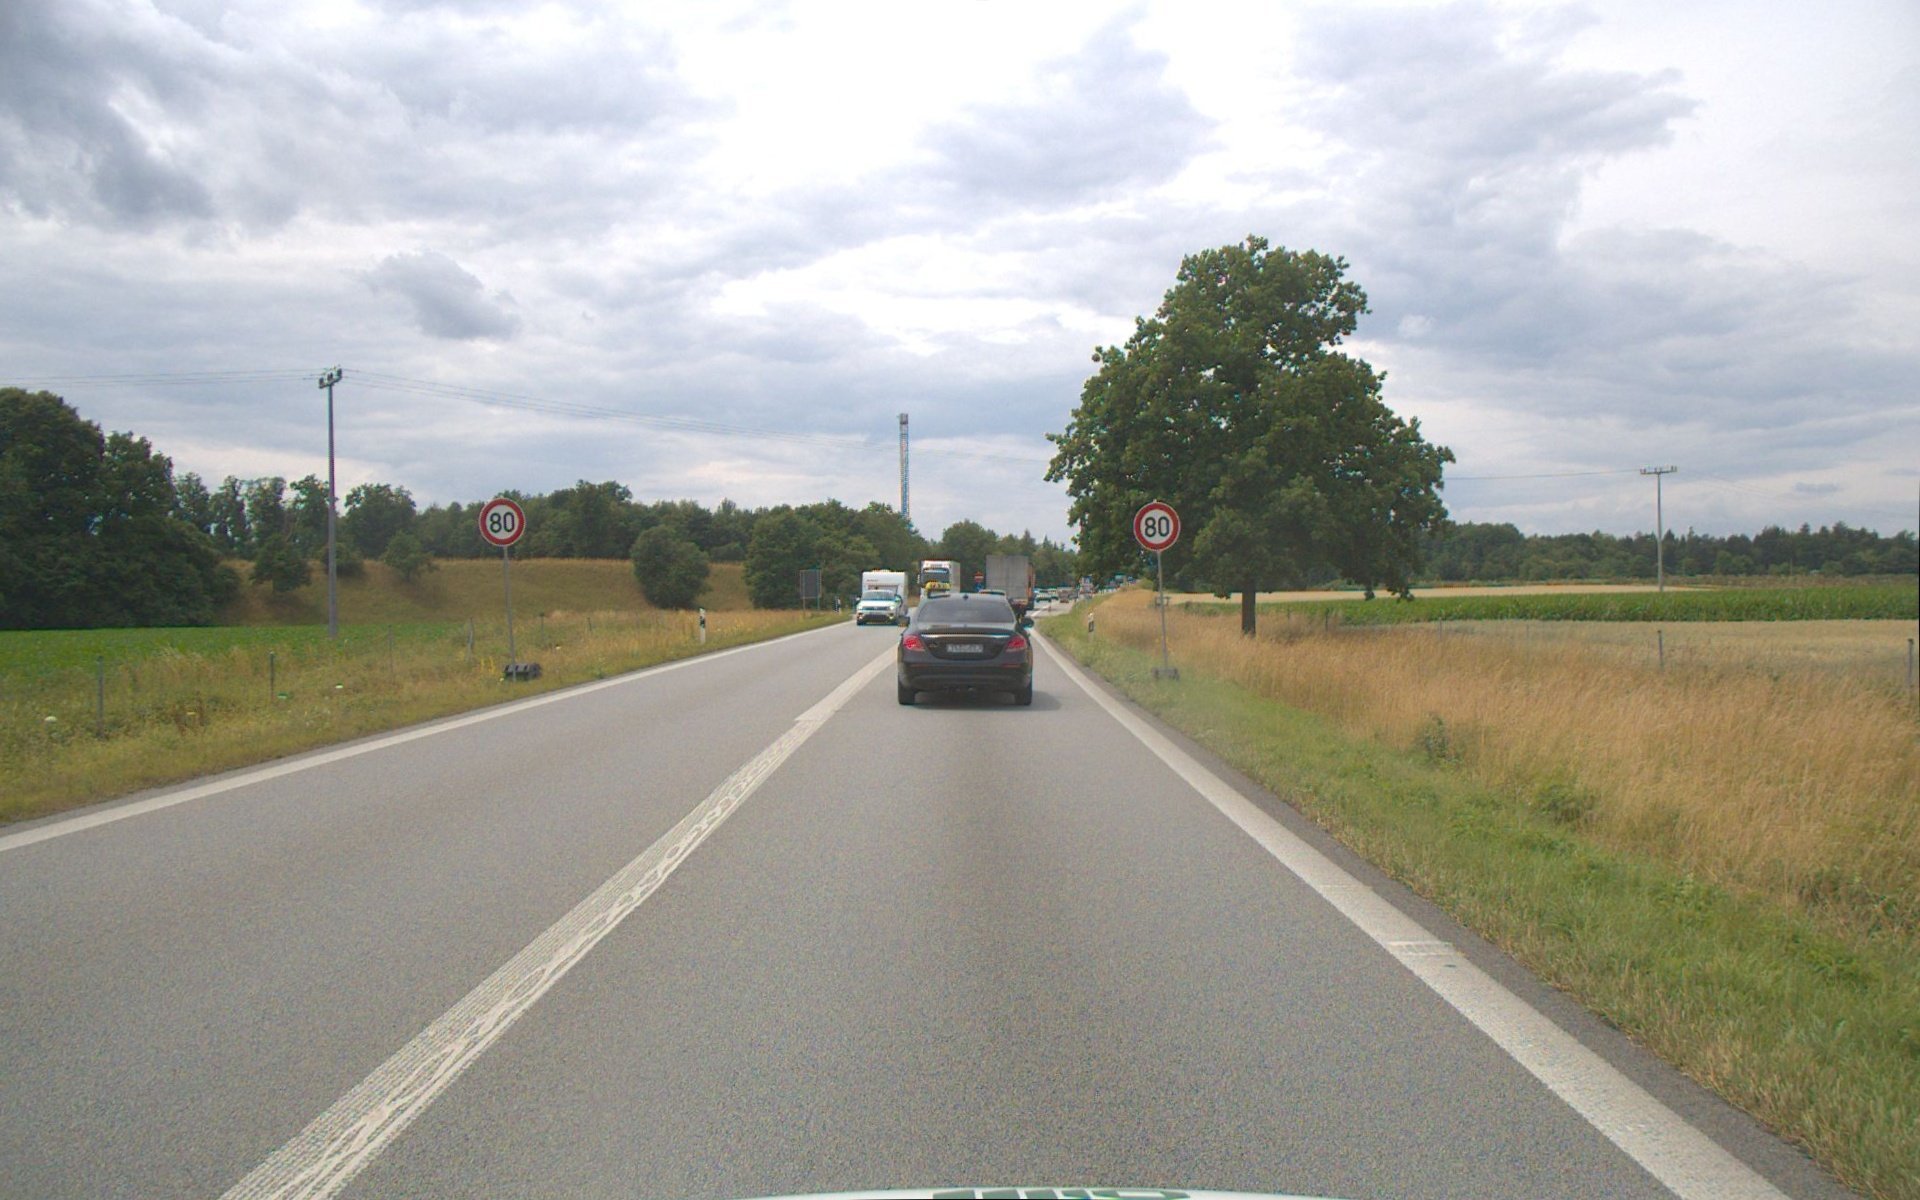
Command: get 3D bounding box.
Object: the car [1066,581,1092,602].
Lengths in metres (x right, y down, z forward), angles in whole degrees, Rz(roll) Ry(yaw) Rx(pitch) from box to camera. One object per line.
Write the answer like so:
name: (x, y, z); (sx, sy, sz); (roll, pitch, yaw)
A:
car: (10.043, -0.698, 139.798); (1.760, 1.691, 3.998); (1, 0, -3)

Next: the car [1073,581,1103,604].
car: (9.793, -0.534, 126.518); (1.760, 1.691, 3.998); (1, 0, -3)

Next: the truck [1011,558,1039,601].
truck: (5.602, -1.765, 143.597); (1.954, 3.587, 4.589); (1, 0, -3)

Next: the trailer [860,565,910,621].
trailer: (-3.652, -0.338, 81.562); (2.137, 2.620, 6.243); (1, 0, 0)

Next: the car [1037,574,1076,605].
car: (5.338, -0.569, 91.912); (1.760, 1.691, 3.998); (1, 0, -3)

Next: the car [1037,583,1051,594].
car: (10.765, -1.492, 212.381); (1.615, 1.420, 3.707); (1, 0, 2)

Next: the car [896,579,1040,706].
car: (0.028, 0.538, 22.925); (1.760, 1.587, 3.998); (1, 0, -3)

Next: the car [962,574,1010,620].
car: (1.164, -0.145, 76.767); (1.954, 2.049, 3.998); (1, 0, -3)

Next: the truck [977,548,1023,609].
truck: (2.479, -1.284, 101.617); (2.532, 3.586, 4.815); (1, 0, 5)

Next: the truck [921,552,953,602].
truck: (-1.899, -1.908, 136.534); (2.438, 4.065, 5.205); (0, 1, 1)

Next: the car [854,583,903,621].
car: (-3.726, 0.106, 76.232); (1.965, 1.686, 4.327); (1, 0, 0)
